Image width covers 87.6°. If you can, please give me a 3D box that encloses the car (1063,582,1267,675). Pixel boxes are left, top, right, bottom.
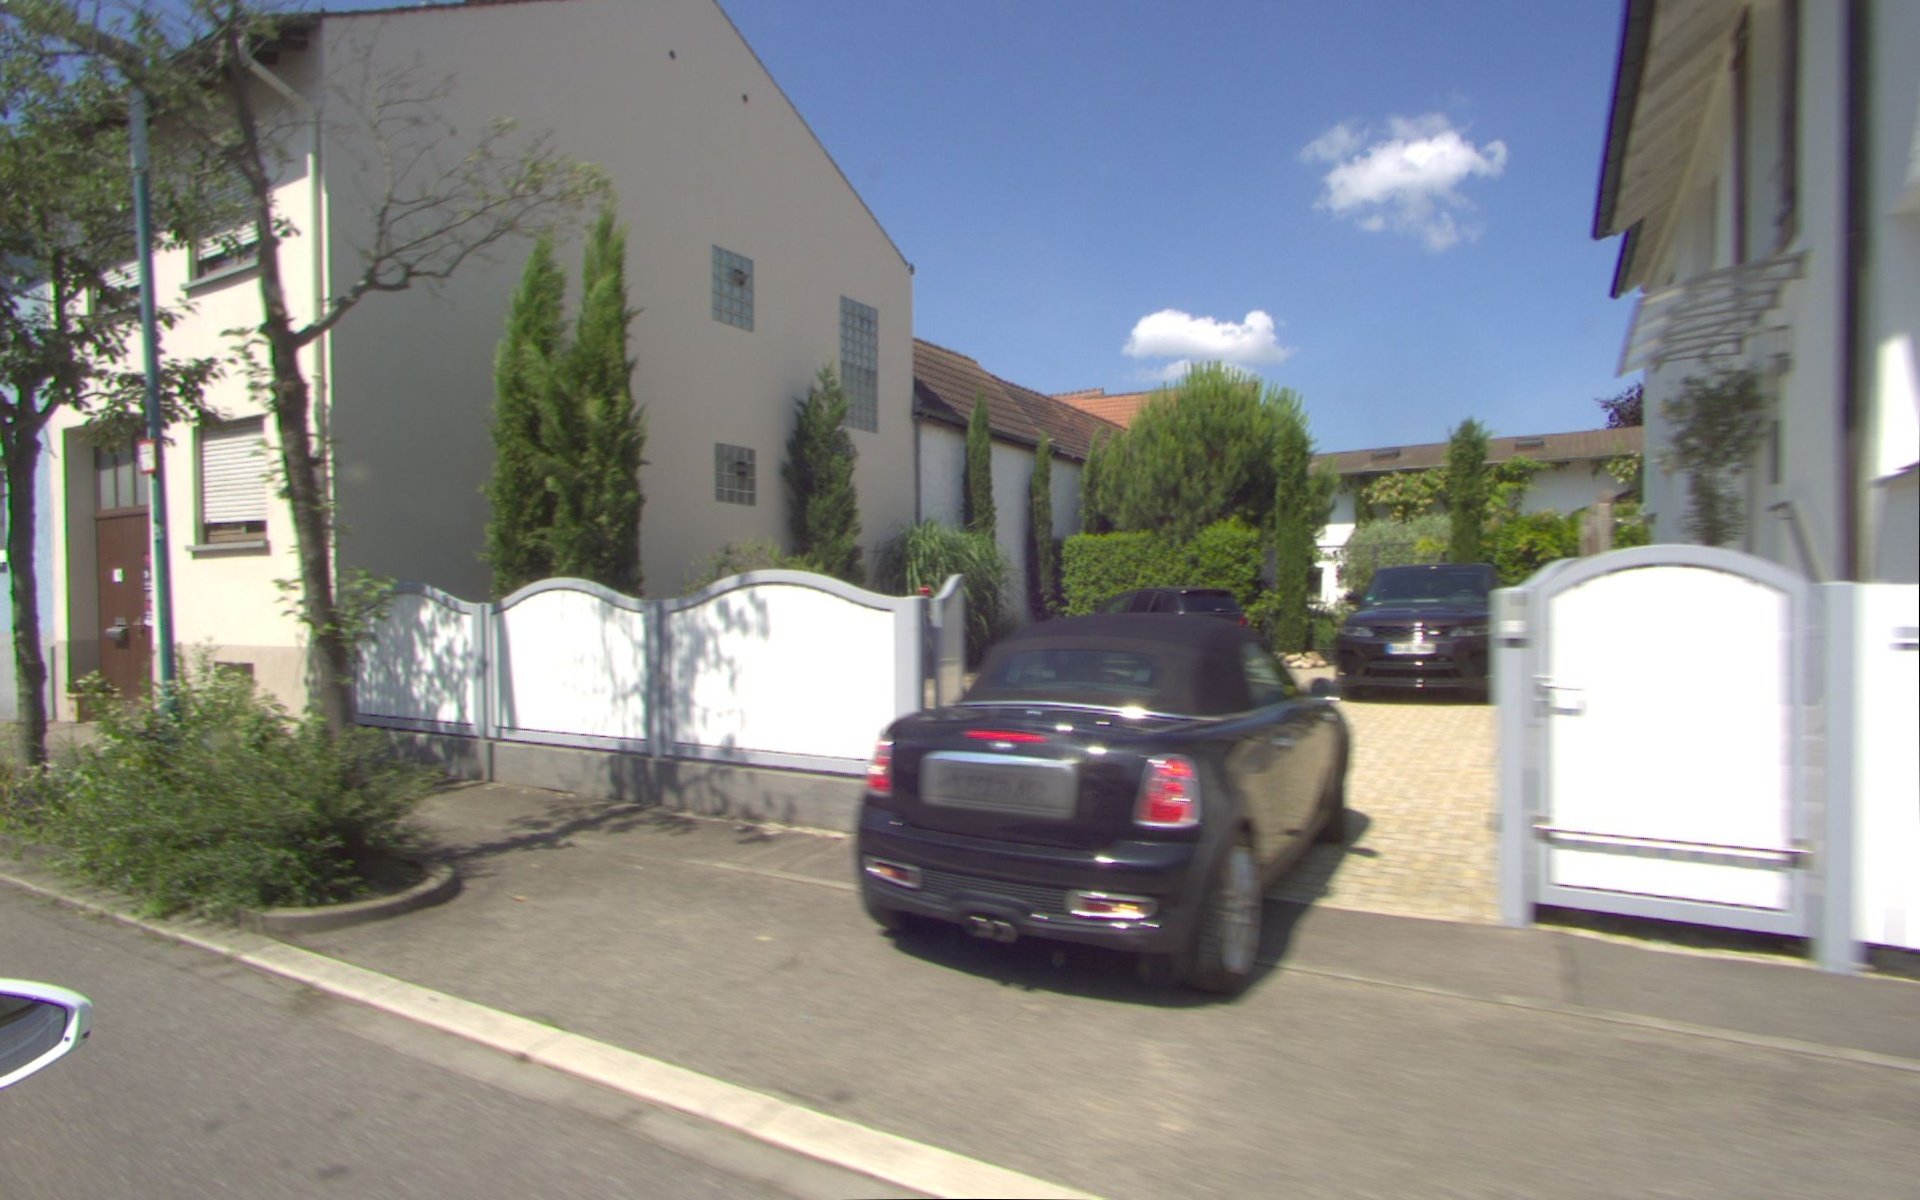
[{"bbox_3d":[3.474,0.459,17.745,1.626,1.454,3.922,0,0,-23],"label":"car"}]

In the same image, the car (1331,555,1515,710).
[{"bbox_3d":[6.270,0.373,13.325,1.856,1.726,3.916,0,0,30],"label":"car"}]

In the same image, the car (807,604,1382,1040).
[{"bbox_3d":[1.087,0.739,5.415,1.714,1.433,3.916,0,0,30],"label":"car"}]
